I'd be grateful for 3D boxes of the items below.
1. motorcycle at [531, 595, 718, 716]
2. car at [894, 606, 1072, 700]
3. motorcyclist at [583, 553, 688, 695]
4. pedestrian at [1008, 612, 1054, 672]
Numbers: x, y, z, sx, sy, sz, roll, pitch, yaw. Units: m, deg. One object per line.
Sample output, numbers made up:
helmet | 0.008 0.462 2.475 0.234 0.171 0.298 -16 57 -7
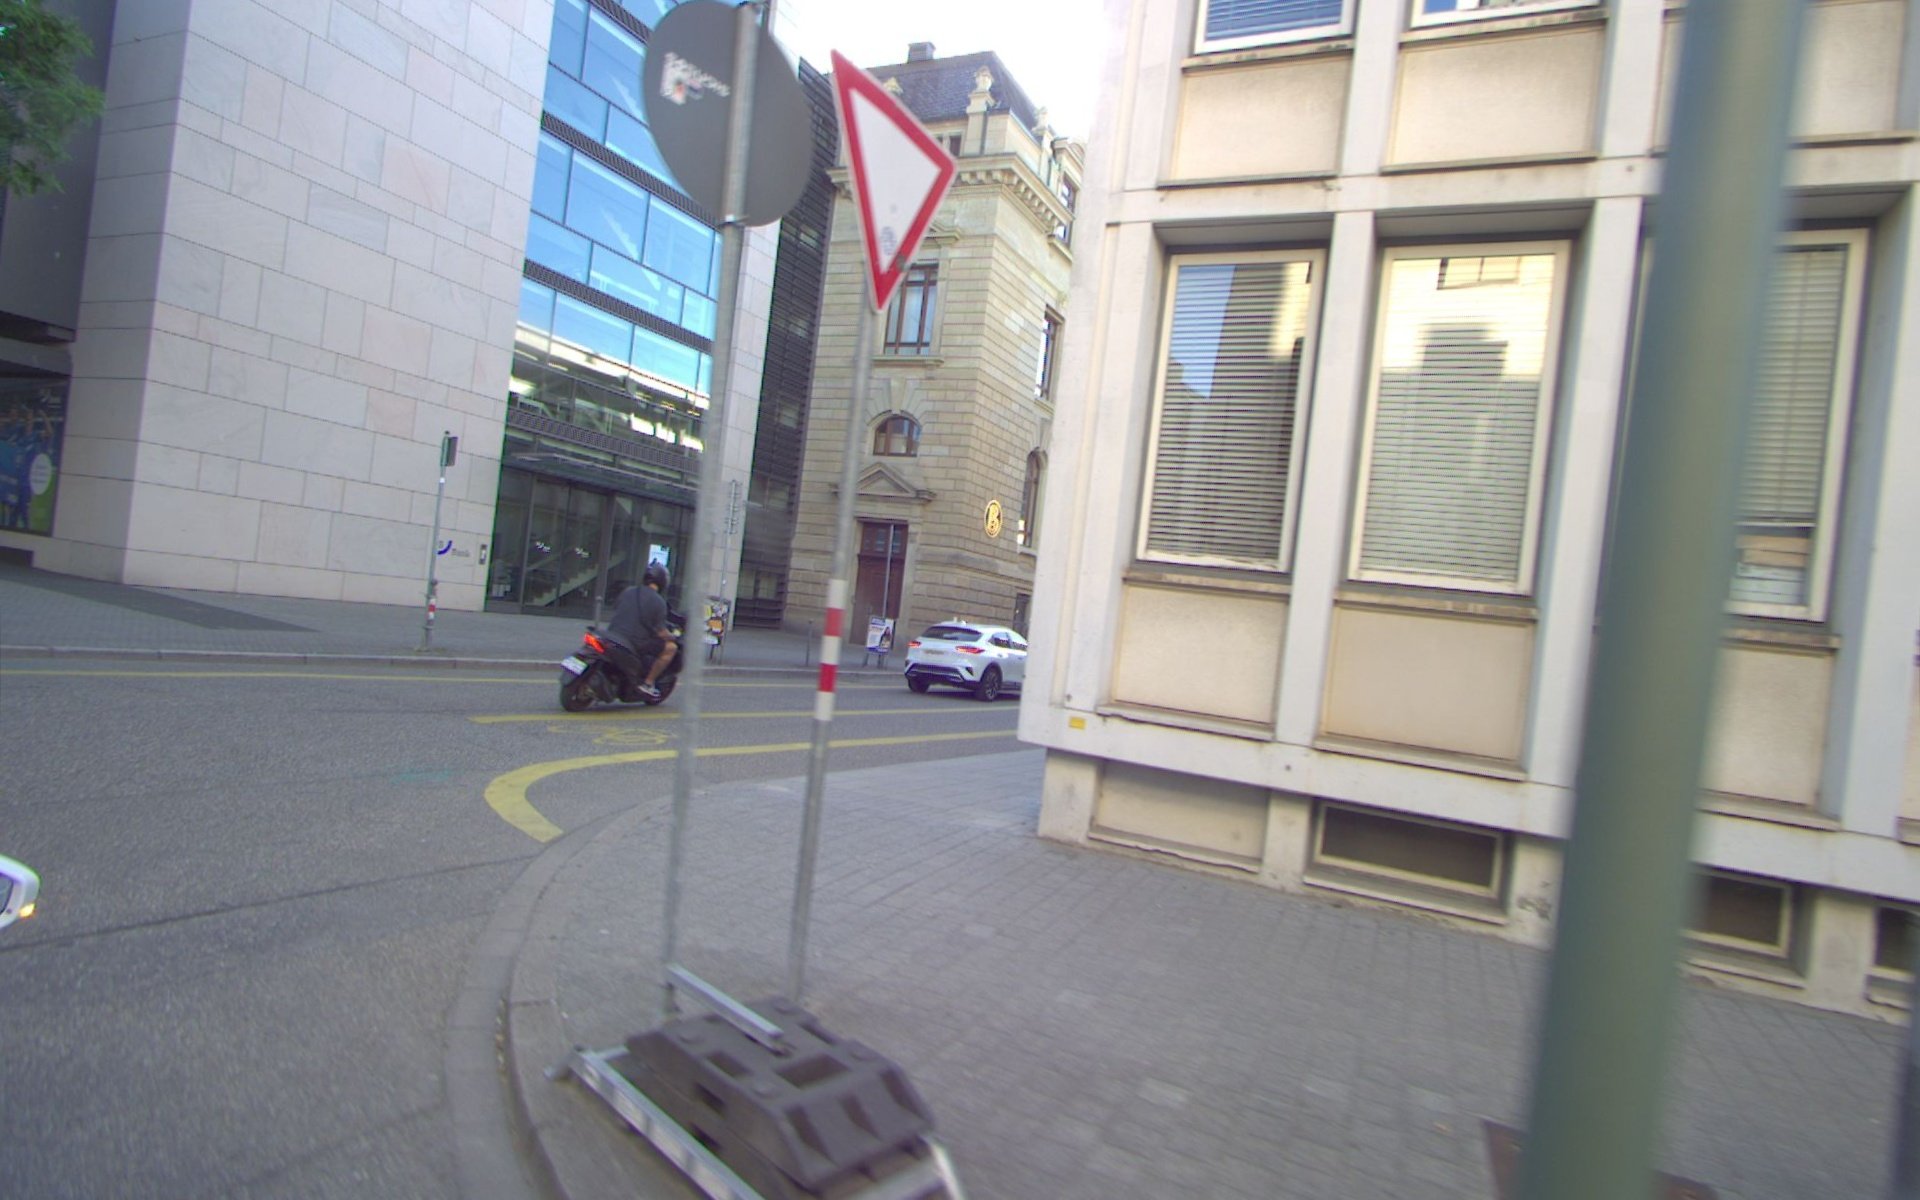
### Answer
motorcycle | -3.594 0.617 10.980 0.859 1.122 1.840 6 -2 21
car | 0.604 1.154 21.000 1.797 1.560 4.258 7 -1 29
motorcyclist | -3.548 0.259 11.017 0.854 1.444 0.456 6 -1 21
pedestrian | 2.379 1.418 33.676 0.830 1.822 1.072 10 1 32
